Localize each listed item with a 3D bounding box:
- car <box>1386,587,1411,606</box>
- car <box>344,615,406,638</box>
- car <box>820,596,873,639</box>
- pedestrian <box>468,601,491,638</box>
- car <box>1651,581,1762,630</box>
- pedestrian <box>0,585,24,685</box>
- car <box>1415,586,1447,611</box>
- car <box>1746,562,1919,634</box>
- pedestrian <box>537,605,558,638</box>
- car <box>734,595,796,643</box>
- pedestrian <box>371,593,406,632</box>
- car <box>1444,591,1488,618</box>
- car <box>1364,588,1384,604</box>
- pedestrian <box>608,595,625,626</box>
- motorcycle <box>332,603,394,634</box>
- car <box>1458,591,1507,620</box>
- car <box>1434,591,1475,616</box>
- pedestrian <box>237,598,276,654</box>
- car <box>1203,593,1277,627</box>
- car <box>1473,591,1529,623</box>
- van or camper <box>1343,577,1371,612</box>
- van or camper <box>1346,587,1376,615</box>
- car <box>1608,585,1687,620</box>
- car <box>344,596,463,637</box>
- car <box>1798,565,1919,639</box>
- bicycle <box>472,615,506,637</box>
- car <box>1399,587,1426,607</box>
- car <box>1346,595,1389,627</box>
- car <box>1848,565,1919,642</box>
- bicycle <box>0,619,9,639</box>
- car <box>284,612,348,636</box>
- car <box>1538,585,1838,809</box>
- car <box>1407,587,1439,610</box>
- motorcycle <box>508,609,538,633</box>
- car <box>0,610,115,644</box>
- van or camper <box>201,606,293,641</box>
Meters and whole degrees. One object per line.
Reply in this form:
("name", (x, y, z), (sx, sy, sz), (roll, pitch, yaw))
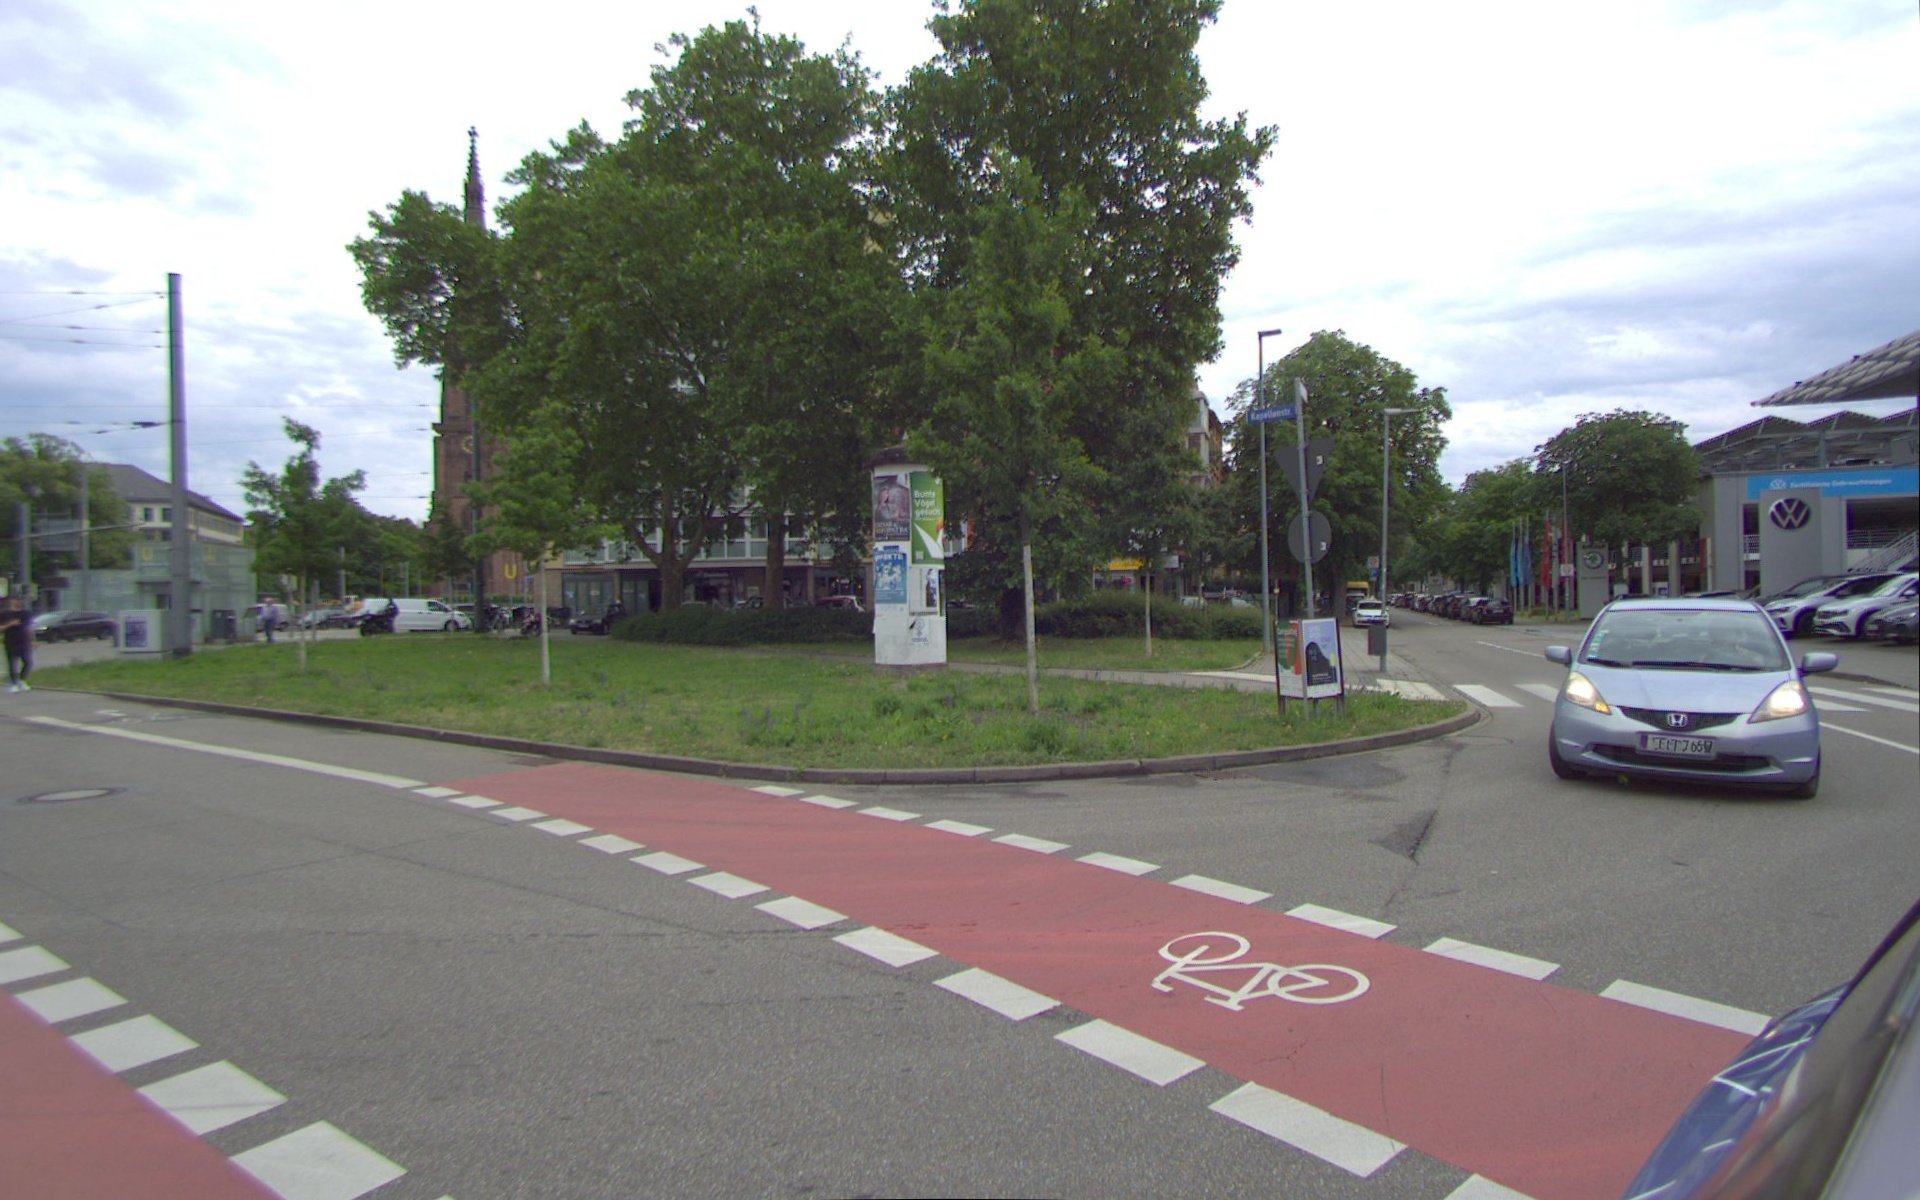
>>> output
("car", (49.363, -0.381, 113.918), (1.996, 2.011, 4.757), (-3, 0, 17))
("car", (-44.469, 2.002, 77.032), (1.829, 1.567, 4.468), (-2, 0, 6))
("car", (-4.492, 0.671, 40.468), (1.824, 1.567, 4.478), (-1, 0, -3))
("pedestrian", (-21.848, 0.877, 46.072), (0.625, 1.659, 0.872), (-1, -1, 0))
("car", (26.631, 0.203, 36.282), (1.893, 1.584, 3.992), (-3, -1, 17))
("pedestrian", (-18.303, 0.667, 19.361), (0.983, 1.867, 0.528), (-1, 0, 45))
("car", (41.220, -0.142, 88.586), (1.836, 2.011, 4.451), (-3, 0, 17))
("car", (25.548, -0.071, 28.874), (4.419, 1.721, 1.857), (-5, -2, 21))
("pedestrian", (-20.856, 1.094, 51.146), (0.722, 1.659, 0.703), (-2, -1, 40))
("car", (-7.651, 0.712, 40.083), (1.824, 1.744, 4.478), (-1, 0, -3))
("pedestrian", (-27.568, 0.582, 48.842), (1.067, 1.820, 0.946), (-2, -1, 2))
("car", (33.701, 0.282, 67.560), (1.836, 1.644, 4.451), (-3, 0, 17))
("car", (55.563, -0.574, 135.936), (1.996, 2.011, 4.757), (-3, 0, 17))
("pedestrian", (-18.300, 0.550, 53.946), (0.625, 1.659, 0.787), (-1, -1, -1))
("motorcycle", (-24.276, 0.741, 41.201), (0.755, 1.183, 2.378), (-1, 0, 12))
("car", (32.262, 0.320, 62.542), (1.836, 1.644, 4.451), (-3, 0, 17))
("car", (35.213, 0.238, 72.126), (1.836, 1.644, 4.451), (-3, 0, 17))
("pedestrian", (-25.372, 0.921, 36.524), (0.871, 1.955, 1.019), (-1, -1, -15))
("car", (13.772, 0.453, 50.031), (1.823, 1.567, 4.482), (-1, 1, -8))
("car", (30.419, 0.376, 57.033), (1.836, 1.644, 4.451), (-3, 0, 17))
("van or camper", (32.821, -0.476, 83.754), (1.975, 2.807, 3.973), (-1, 0, 20))
("van or camper", (31.387, 0.069, 79.257), (1.975, 2.039, 3.973), (-1, 0, 20))
("car", (33.385, 0.115, 49.314), (1.873, 1.567, 4.451), (-3, 0, 17))
("car", (-31.591, 0.913, 57.578), (5.637, 2.039, 2.025), (-2, -1, -40))
("car", (24.836, -0.057, 25.913), (4.715, 1.721, 1.849), (-5, -2, 20))
("bicycle", (-20.597, 1.129, 44.261), (1.242, 0.929, 0.594), (-1, -1, 3))
("car", (48.190, -0.360, 107.870), (1.996, 2.011, 4.757), (-3, 0, 17))
("car", (21.484, 0.532, 53.481), (1.837, 1.567, 4.448), (0, 1, 19))
("car", (23.832, -0.063, 23.396), (4.418, 1.718, 1.885), (-5, -2, 20))
("bicycle", (-68.569, 2.087, 71.282), (0.703, 1.348, 2.237), (-3, -1, 40))
("car", (-45.334, 1.664, 71.321), (1.743, 1.482, 3.996), (-3, 0, 3))
("car", (6.482, 0.639, 8.911), (1.746, 1.485, 4.039), (-1, 0, 40))
("car", (43.004, -0.192, 94.017), (1.996, 2.011, 4.757), (-3, 0, 17))
("motorcycle", (-18.583, 0.889, 43.043), (1.011, 1.010, 0.860), (-1, -1, 43))
("car", (-41.845, 1.232, 46.928), (1.666, 1.413, 4.392), (-1, 0, 0))
("van or camper", (-45.659, 1.456, 64.953), (2.154, 2.039, 5.154), (-2, 0, 2))
